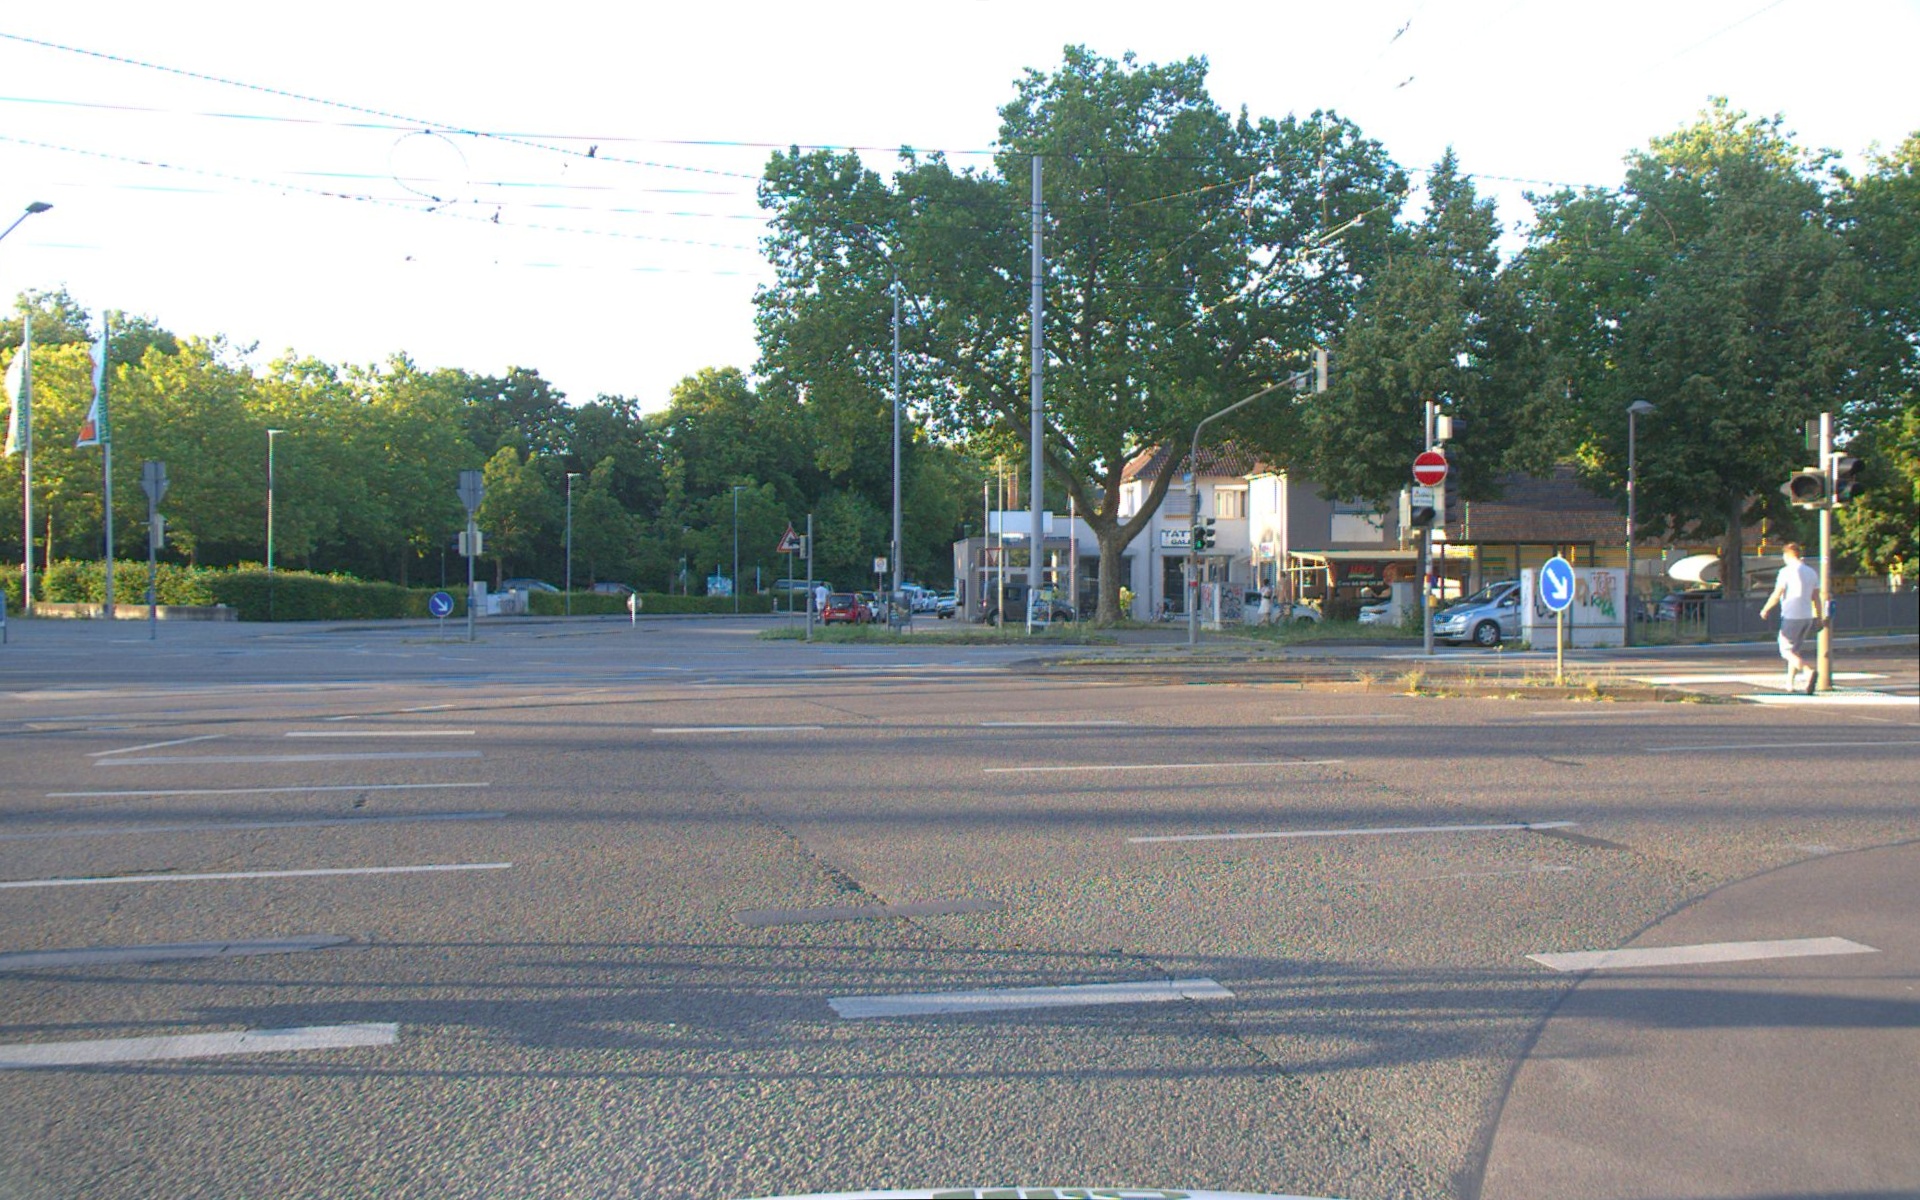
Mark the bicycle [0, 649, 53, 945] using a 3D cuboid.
[{"bbox_3d":[-3.805,0.755,5.618,0.623,1.086,2.117,0,1,-10],"label":"bicycle"}]

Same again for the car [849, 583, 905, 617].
[{"bbox_3d":[-4.006,-0.004,80.340,1.951,1.601,4.004,0,1,9],"label":"car"}]

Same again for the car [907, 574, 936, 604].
[{"bbox_3d":[-2.746,-0.805,117.399,1.954,2.049,3.998,0,1,-3],"label":"car"}]

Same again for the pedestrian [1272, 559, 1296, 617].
[{"bbox_3d":[10.107,-0.376,51.616,0.703,1.785,0.898,0,0,14],"label":"pedestrian"}]

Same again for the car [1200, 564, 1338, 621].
[{"bbox_3d":[10.373,-0.258,55.636,4.151,1.878,1.997,0,1,-8],"label":"car"}]

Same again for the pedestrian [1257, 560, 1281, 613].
[{"bbox_3d":[9.855,-0.419,52.723,0.703,1.667,0.898,0,0,14],"label":"pedestrian"}]

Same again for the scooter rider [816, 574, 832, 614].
[{"bbox_3d":[-6.493,-0.292,79.025,0.689,1.887,0.667,0,0,-11],"label":"scooter rider"}]

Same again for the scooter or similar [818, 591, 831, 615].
[{"bbox_3d":[-6.474,0.126,78.997,0.501,1.109,1.240,0,1,-10],"label":"scooter or similar"}]

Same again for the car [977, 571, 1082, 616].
[{"bbox_3d":[2.964,-0.305,70.971,4.292,1.867,1.947,0,1,-6],"label":"car"}]

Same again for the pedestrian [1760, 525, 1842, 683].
[{"bbox_3d":[9.932,0.040,19.557,0.745,1.822,0.802,1,0,20],"label":"pedestrian"}]

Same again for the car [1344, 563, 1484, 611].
[{"bbox_3d":[15.358,-0.450,56.105,4.151,1.605,1.997,0,1,-8],"label":"car"}]

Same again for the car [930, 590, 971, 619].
[{"bbox_3d":[-0.515,0.269,96.639,1.874,1.630,4.003,0,1,7],"label":"car"}]

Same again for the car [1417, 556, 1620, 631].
[{"bbox_3d":[13.638,-0.183,40.465,4.458,1.758,1.855,0,1,-15],"label":"car"}]

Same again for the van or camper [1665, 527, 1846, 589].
[{"bbox_3d":[32.283,-1.683,67.226,6.437,2.452,2.261,0,0,-7],"label":"van or camper"}]

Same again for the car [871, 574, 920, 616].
[{"bbox_3d":[-3.276,-0.298,84.355,1.874,2.083,4.003,0,1,7],"label":"car"}]

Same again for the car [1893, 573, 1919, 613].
[{"bbox_3d":[36.927,-0.259,60.866,4.151,1.490,1.997,0,1,-8],"label":"car"}]

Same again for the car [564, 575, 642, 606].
[{"bbox_3d":[-18.885,-0.495,87.698,3.913,1.588,1.996,0,1,-9],"label":"car"}]

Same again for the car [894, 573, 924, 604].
[{"bbox_3d":[-3.488,-0.816,112.611,1.954,2.049,3.998,0,1,-3],"label":"car"}]

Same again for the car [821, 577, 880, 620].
[{"bbox_3d":[-5.009,-0.100,76.333,1.828,1.907,3.878,0,1,11],"label":"car"}]
